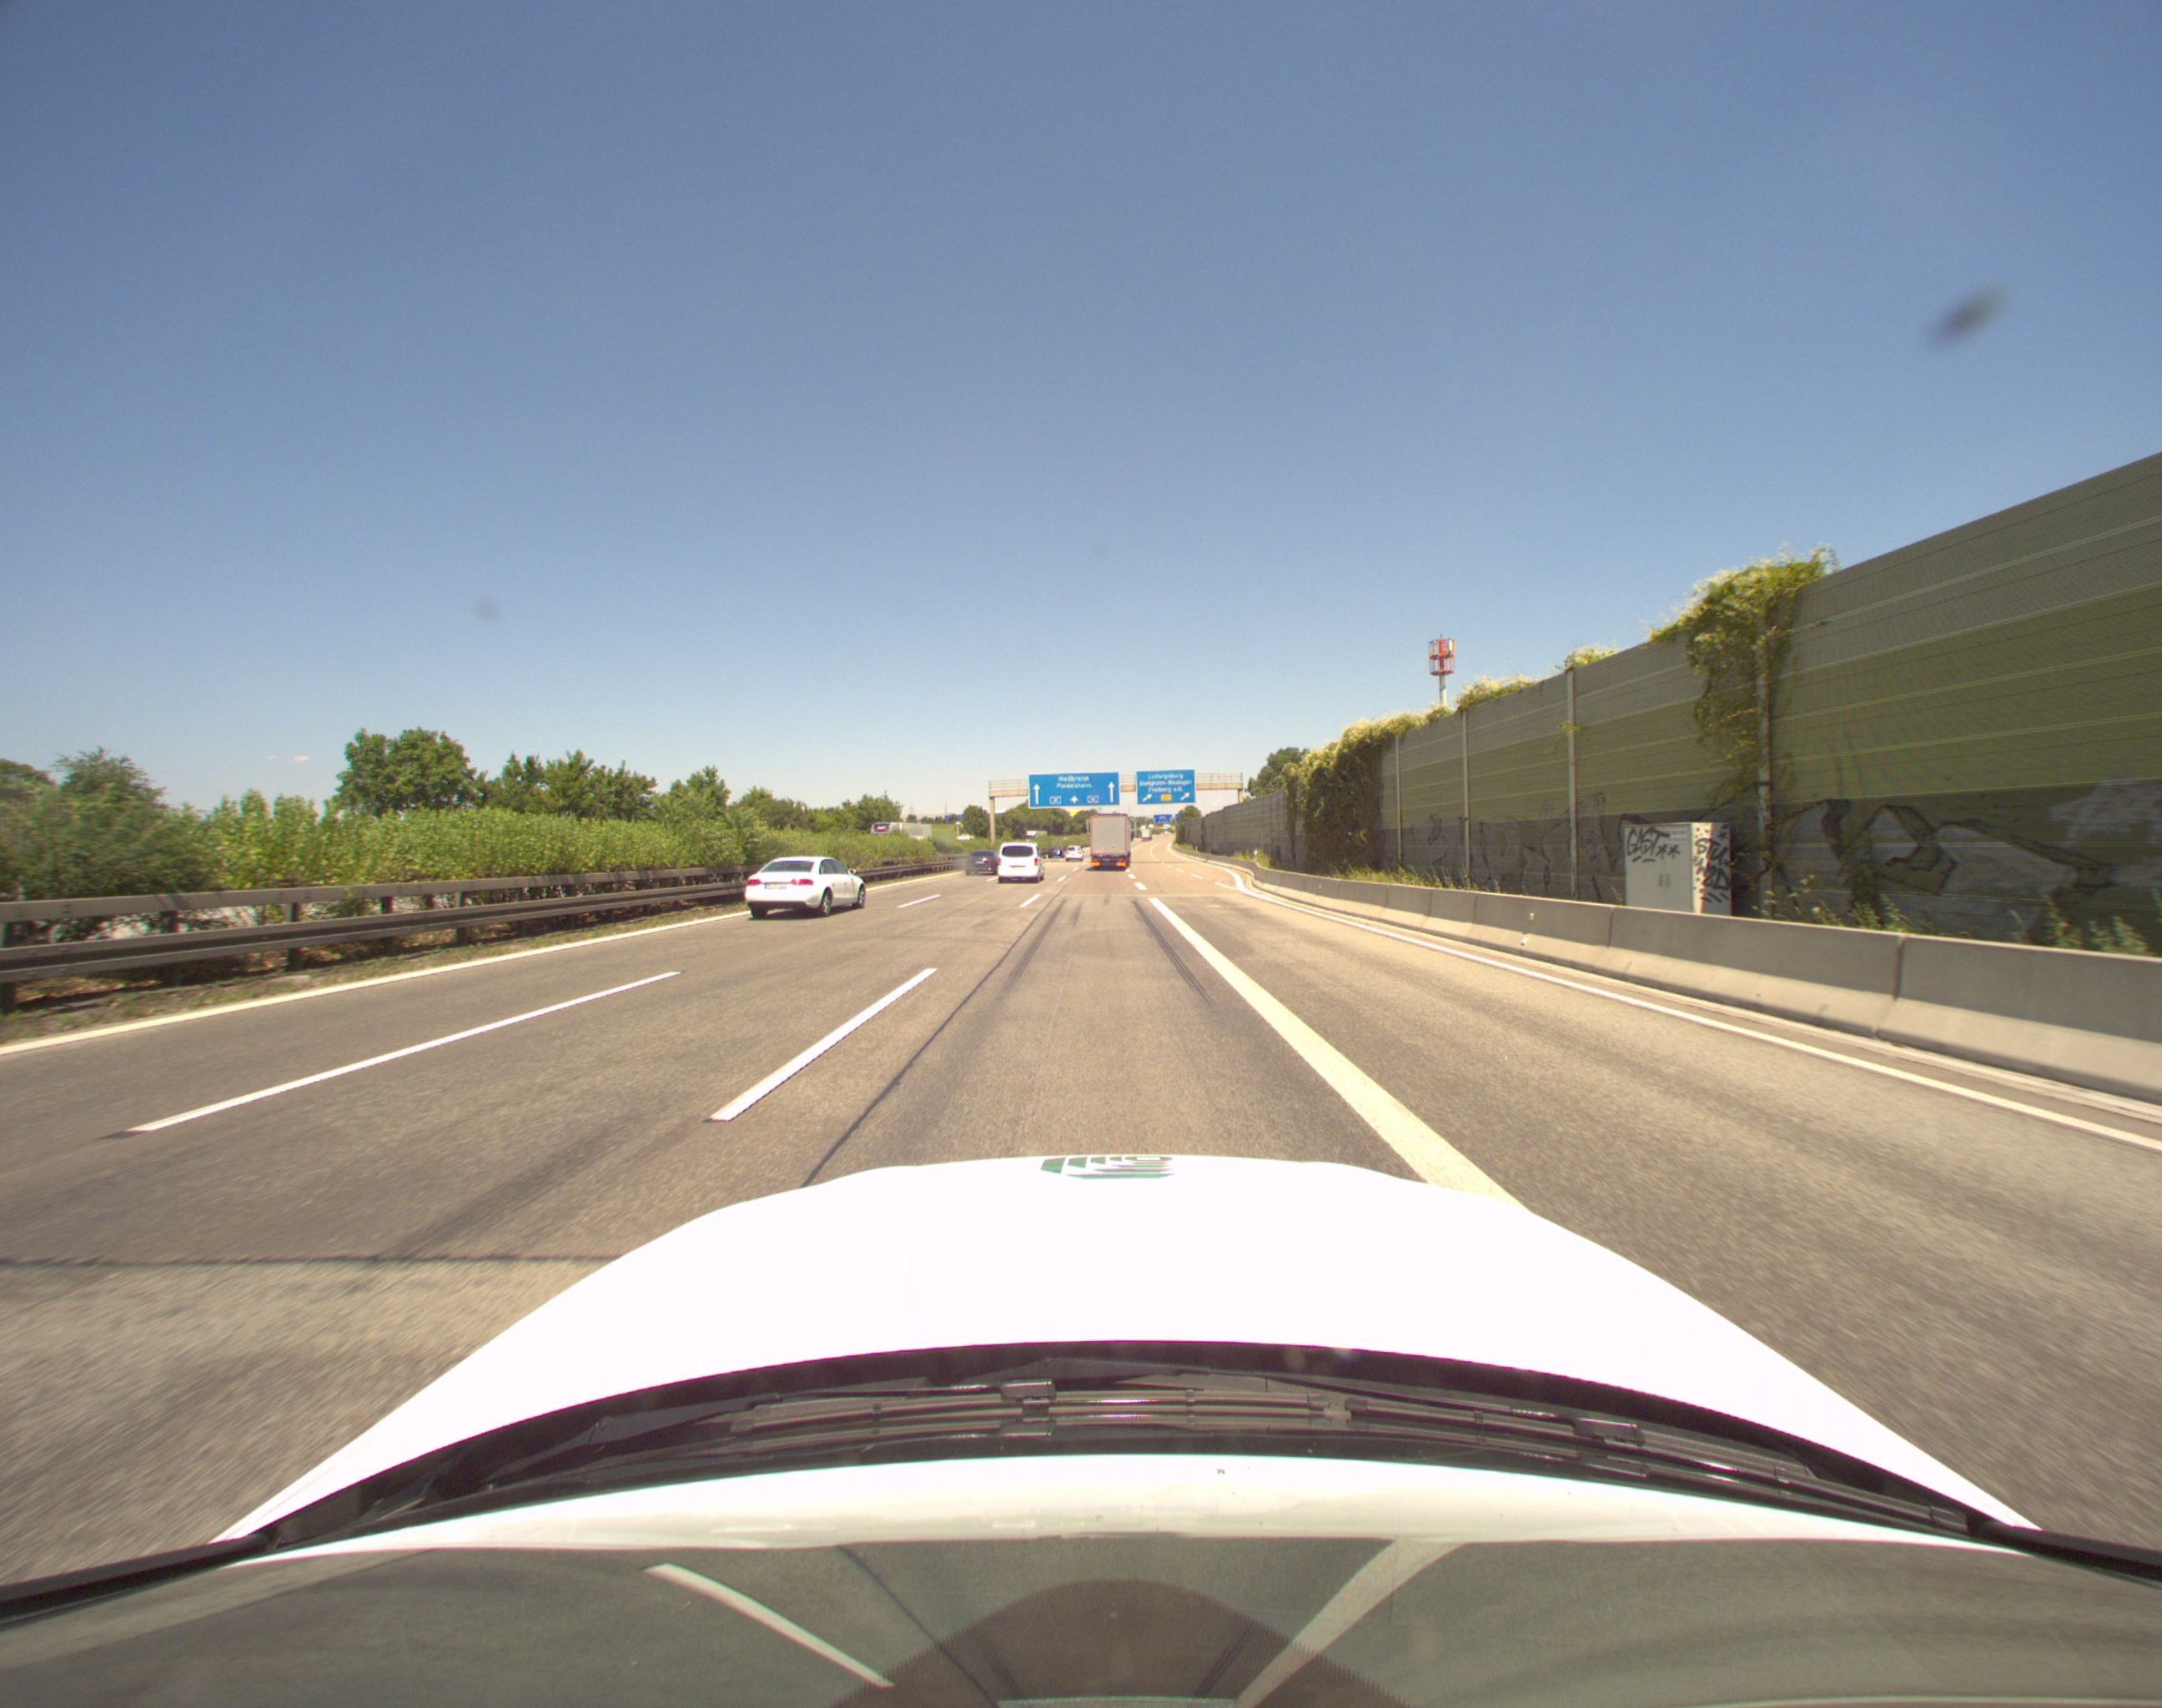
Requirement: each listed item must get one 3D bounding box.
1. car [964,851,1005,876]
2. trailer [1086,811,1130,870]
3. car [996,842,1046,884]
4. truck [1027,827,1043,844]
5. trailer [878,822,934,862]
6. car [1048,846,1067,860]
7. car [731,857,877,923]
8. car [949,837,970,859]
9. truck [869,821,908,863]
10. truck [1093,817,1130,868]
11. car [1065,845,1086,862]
[{"bbox_3d":[-5.716,0.535,48.797,1.750,1.408,5.040,-1,0,1],"label":"car"},{"bbox_3d":[2.215,-0.934,61.948,2.915,4.015,12.049,-1,0,3],"label":"trailer"},{"bbox_3d":[-2.821,0.402,39.101,1.924,1.851,4.693,-1,0,1],"label":"car"},{"bbox_3d":[-11.274,-4.535,200.185,2.989,3.967,10.329,0,1,3],"label":"truck"},{"bbox_3d":[-19.635,-1.353,92.472,2.594,4.133,14.239,-1,1,3],"label":"trailer"},{"bbox_3d":[-2.971,-0.097,102.943,1.895,1.689,4.637,-1,0,5],"label":"car"},{"bbox_3d":[-6.811,0.810,20.693,1.870,1.440,5.126,0,0,1],"label":"car"},{"bbox_3d":[-15.626,-0.783,104.867,1.986,2.765,4.002,-1,0,2],"label":"car"},{"bbox_3d":[-19.998,-1.256,84.812,2.594,4.155,4.753,-1,0,3],"label":"truck"},{"bbox_3d":[2.661,-0.928,69.652,2.915,4.015,7.590,-1,0,3],"label":"truck"},{"bbox_3d":[-0.593,-0.041,89.446,1.896,1.851,4.635,-1,0,4],"label":"car"}]
